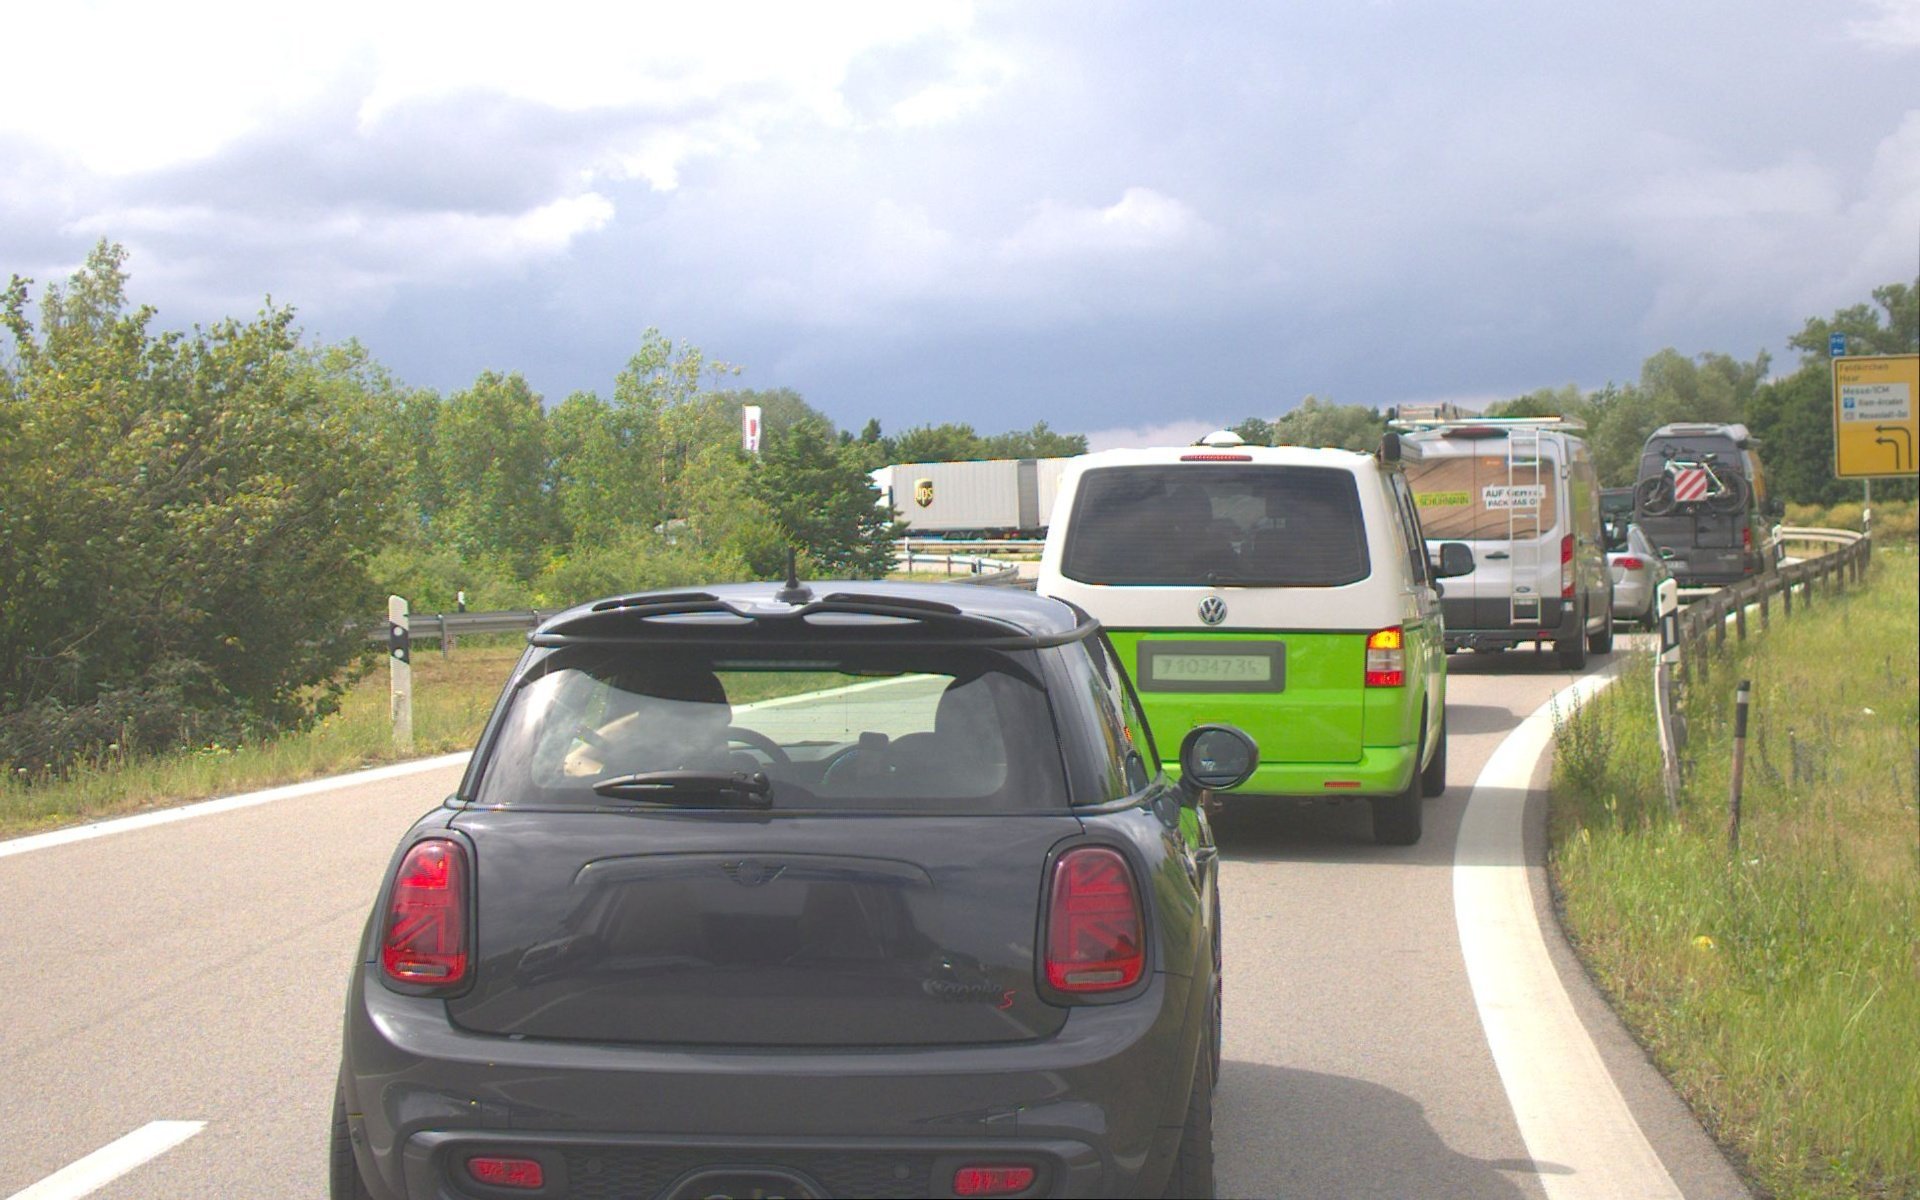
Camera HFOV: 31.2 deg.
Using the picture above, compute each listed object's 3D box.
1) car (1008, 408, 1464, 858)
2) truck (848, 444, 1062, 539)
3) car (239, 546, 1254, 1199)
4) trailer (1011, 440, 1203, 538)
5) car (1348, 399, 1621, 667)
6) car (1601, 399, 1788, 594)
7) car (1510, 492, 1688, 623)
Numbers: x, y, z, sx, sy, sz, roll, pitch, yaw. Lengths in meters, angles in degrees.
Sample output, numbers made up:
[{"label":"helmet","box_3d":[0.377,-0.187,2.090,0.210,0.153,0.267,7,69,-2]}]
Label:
[{"label":"car","box_3d":[1.552,0.116,17.805,1.912,2.038,4.179,0,1,11]},{"label":"truck","box_3d":[-0.308,-4.647,148.623,10.023,3.962,2.838,1,1,43]},{"label":"car","box_3d":[-0.247,0.661,7.924,1.800,1.541,3.738,0,1,4]},{"label":"trailer","box_3d":[5.995,-4.523,141.580,3.036,3.884,8.771,0,1,-36]},{"label":"car","box_3d":[5.664,-0.687,36.520,2.213,2.613,5.530,1,1,15]},{"label":"car","box_3d":[12.375,-1.665,57.598,2.313,3.058,6.656,1,1,18]},{"label":"car","box_3d":[8.535,-0.558,45.675,1.995,1.636,3.926,1,1,15]}]
